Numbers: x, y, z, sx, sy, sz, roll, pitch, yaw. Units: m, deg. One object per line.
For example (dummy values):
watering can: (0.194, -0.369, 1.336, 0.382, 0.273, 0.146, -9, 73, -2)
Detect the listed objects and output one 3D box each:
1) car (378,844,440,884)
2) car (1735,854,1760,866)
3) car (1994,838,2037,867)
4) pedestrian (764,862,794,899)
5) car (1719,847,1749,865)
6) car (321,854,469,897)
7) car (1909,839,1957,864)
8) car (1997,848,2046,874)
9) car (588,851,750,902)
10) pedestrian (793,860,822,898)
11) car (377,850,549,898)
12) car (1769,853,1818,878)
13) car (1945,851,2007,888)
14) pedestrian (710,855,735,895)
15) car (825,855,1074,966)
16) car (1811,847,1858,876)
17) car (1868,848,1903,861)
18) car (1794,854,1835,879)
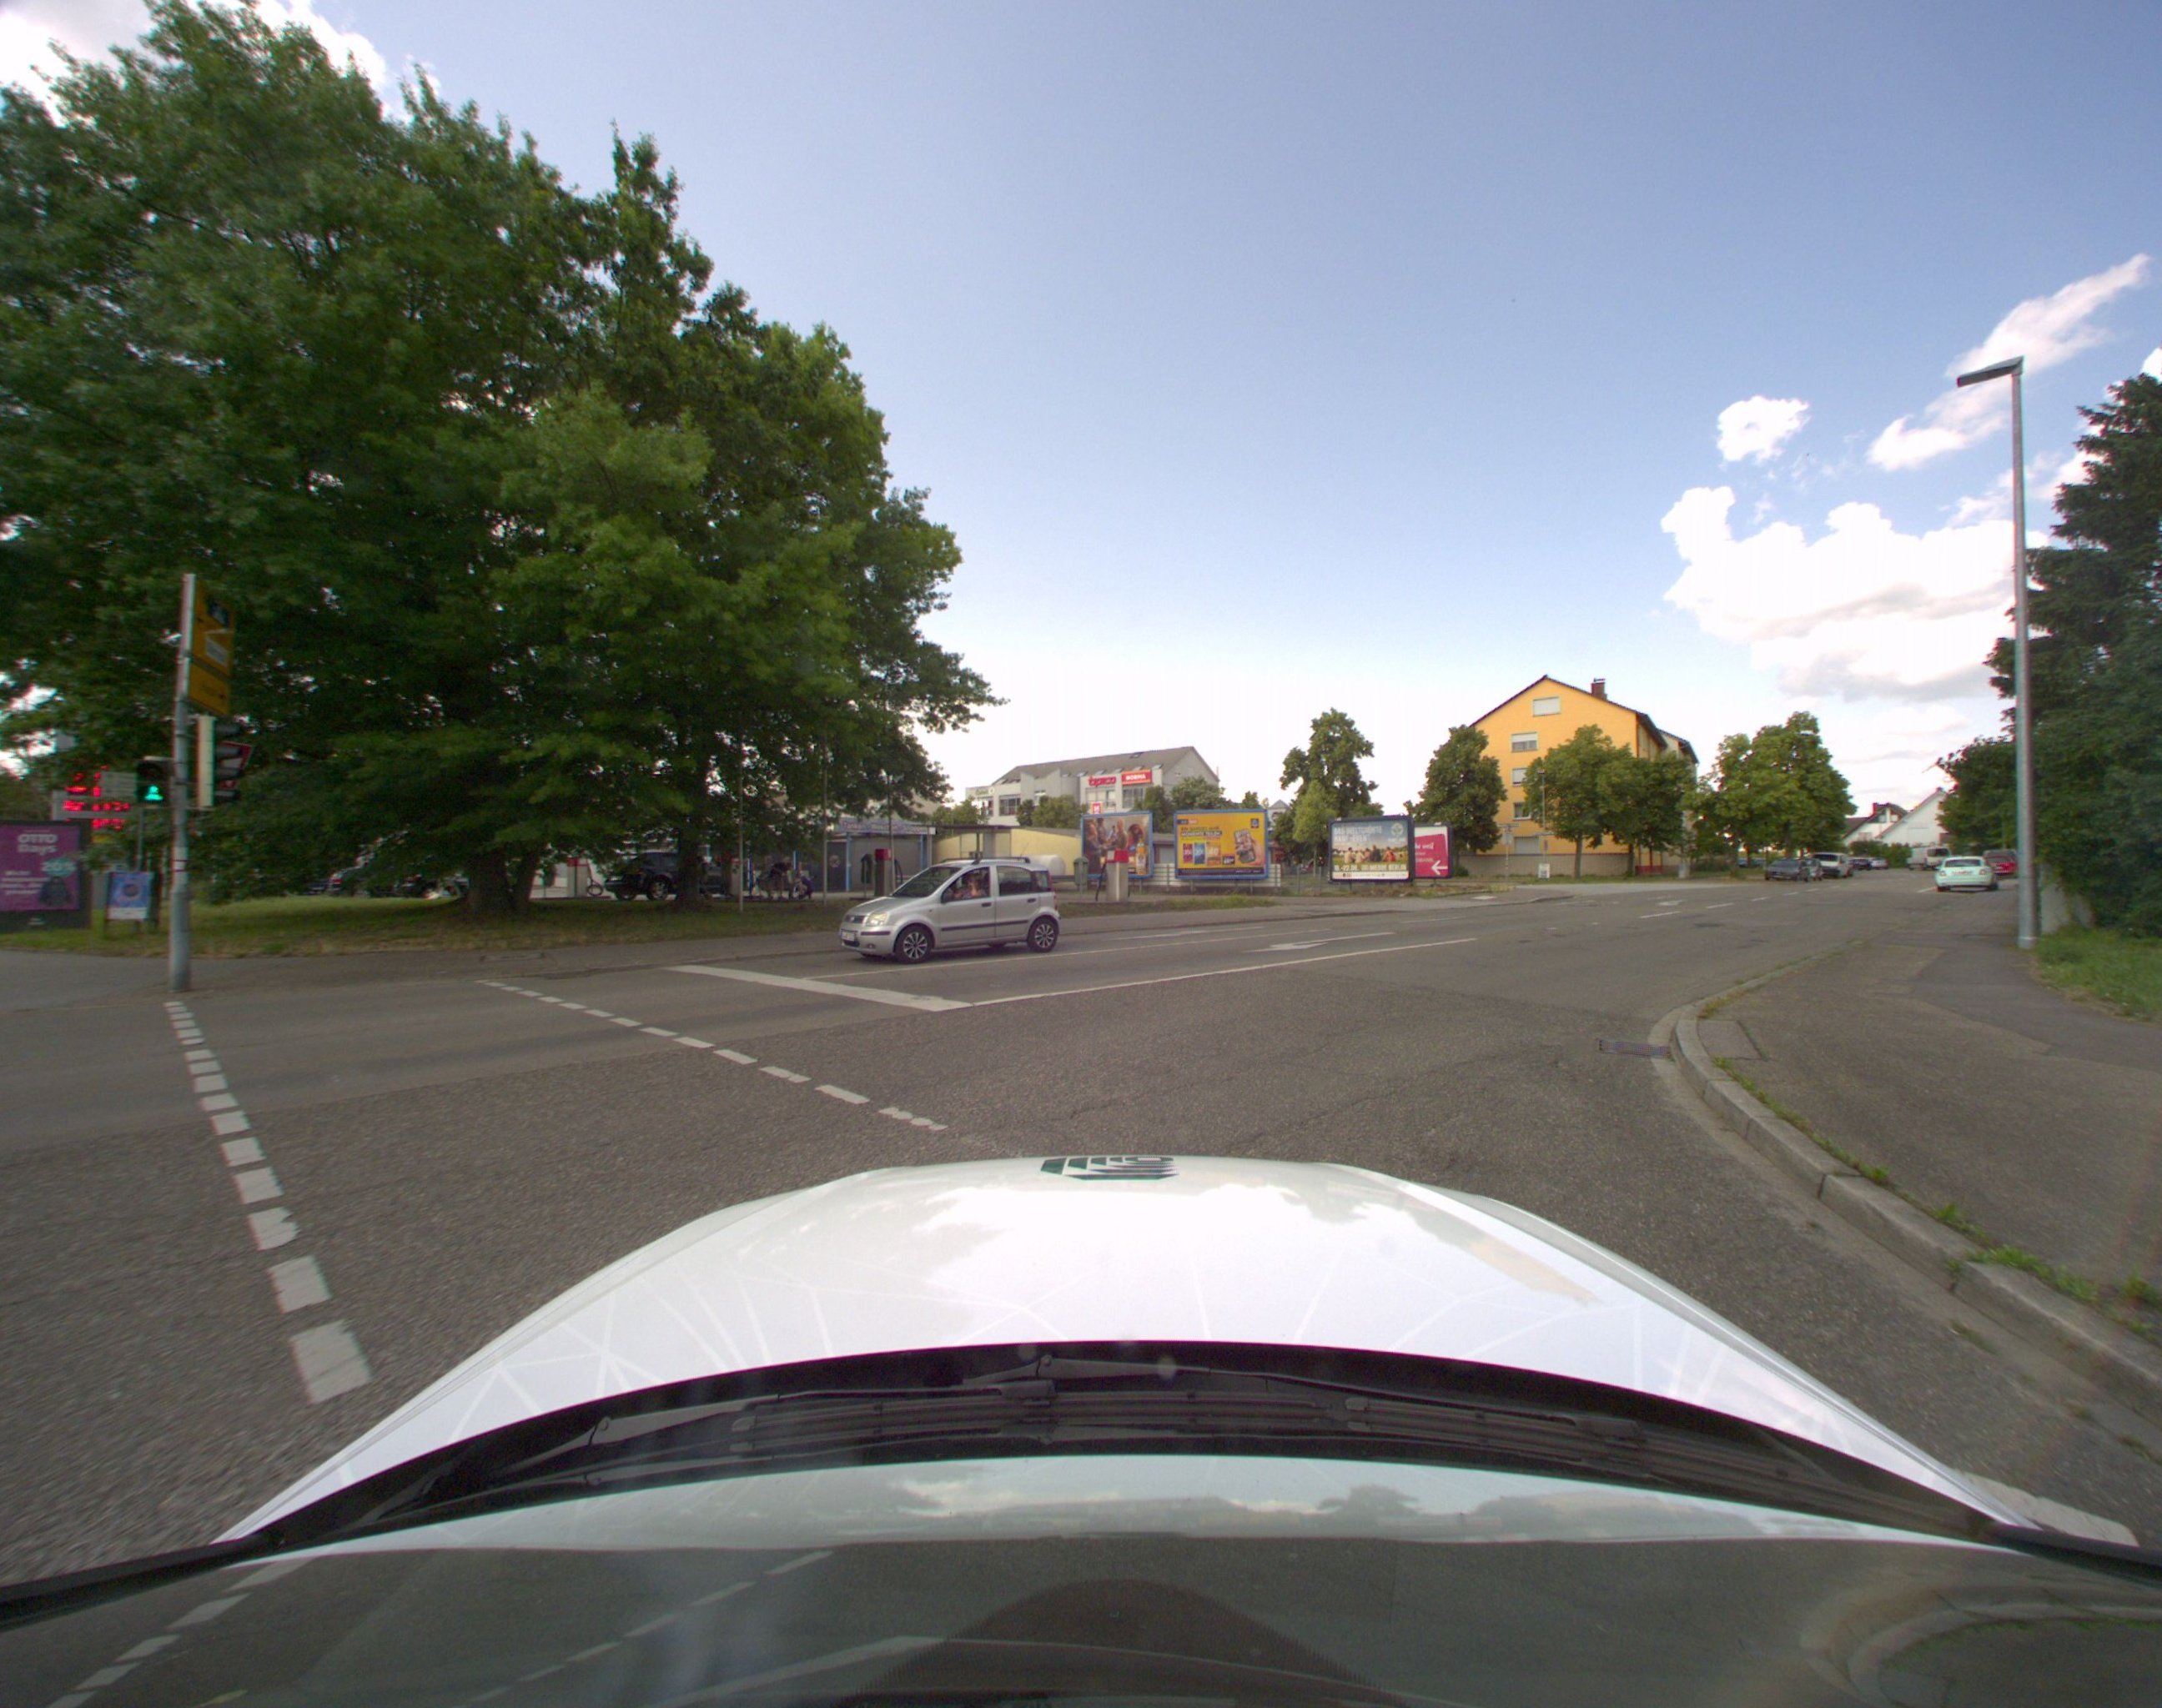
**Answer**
car: (-43.249, 0.640, 52.360, 5.675, 2.454, 1.767, -1, -1, 36)
car: (92.108, 0.865, 112.600, 1.771, 1.457, 4.461, 3, 1, 27)
car: (68.274, -0.079, 59.549, 4.902, 1.945, 1.826, 0, -3, -42)
pedestrian: (-9.972, 0.873, 26.923, 0.762, 1.190, 0.644, 0, -3, -6)
car: (94.794, 0.248, 118.287, 2.045, 2.500, 5.875, 3, 1, 27)
car: (-33.801, 1.017, 40.293, 2.126, 2.004, 5.231, -1, -1, 35)
car: (86.967, -0.196, 83.201, 2.097, 2.441, 5.931, -1, -1, 33)
car: (58.705, 0.431, 50.823, 4.756, 1.579, 1.834, 0, -1, -39)
car: (-14.115, 0.722, 28.199, 2.126, 1.596, 4.592, -1, -1, 28)
pedestrian: (-9.085, 0.832, 27.027, 0.762, 1.256, 0.644, 0, -3, -6)
car: (-25.329, 0.780, 33.604, 2.126, 1.827, 5.229, -1, -1, 28)
car: (46.763, 0.760, 53.433, 4.002, 1.486, 1.670, 1, 1, -38)
car: (38.777, 0.653, 35.254, 3.774, 1.520, 1.568, 0, -1, -39)
pedestrian: (-13.587, 0.797, 30.867, 0.612, 1.495, 0.565, -2, -3, 31)
car: (-2.015, 0.794, 12.939, 3.626, 1.517, 1.541, 0, -1, -39)
car: (57.842, 0.516, 62.483, 5.349, 2.009, 1.864, -1, 4, -40)
car: (95.000, 0.035, 96.221, 1.721, 1.457, 4.391, -1, -1, 28)
car: (51.687, 0.862, 57.363, 3.774, 1.549, 1.505, -1, 4, -40)
